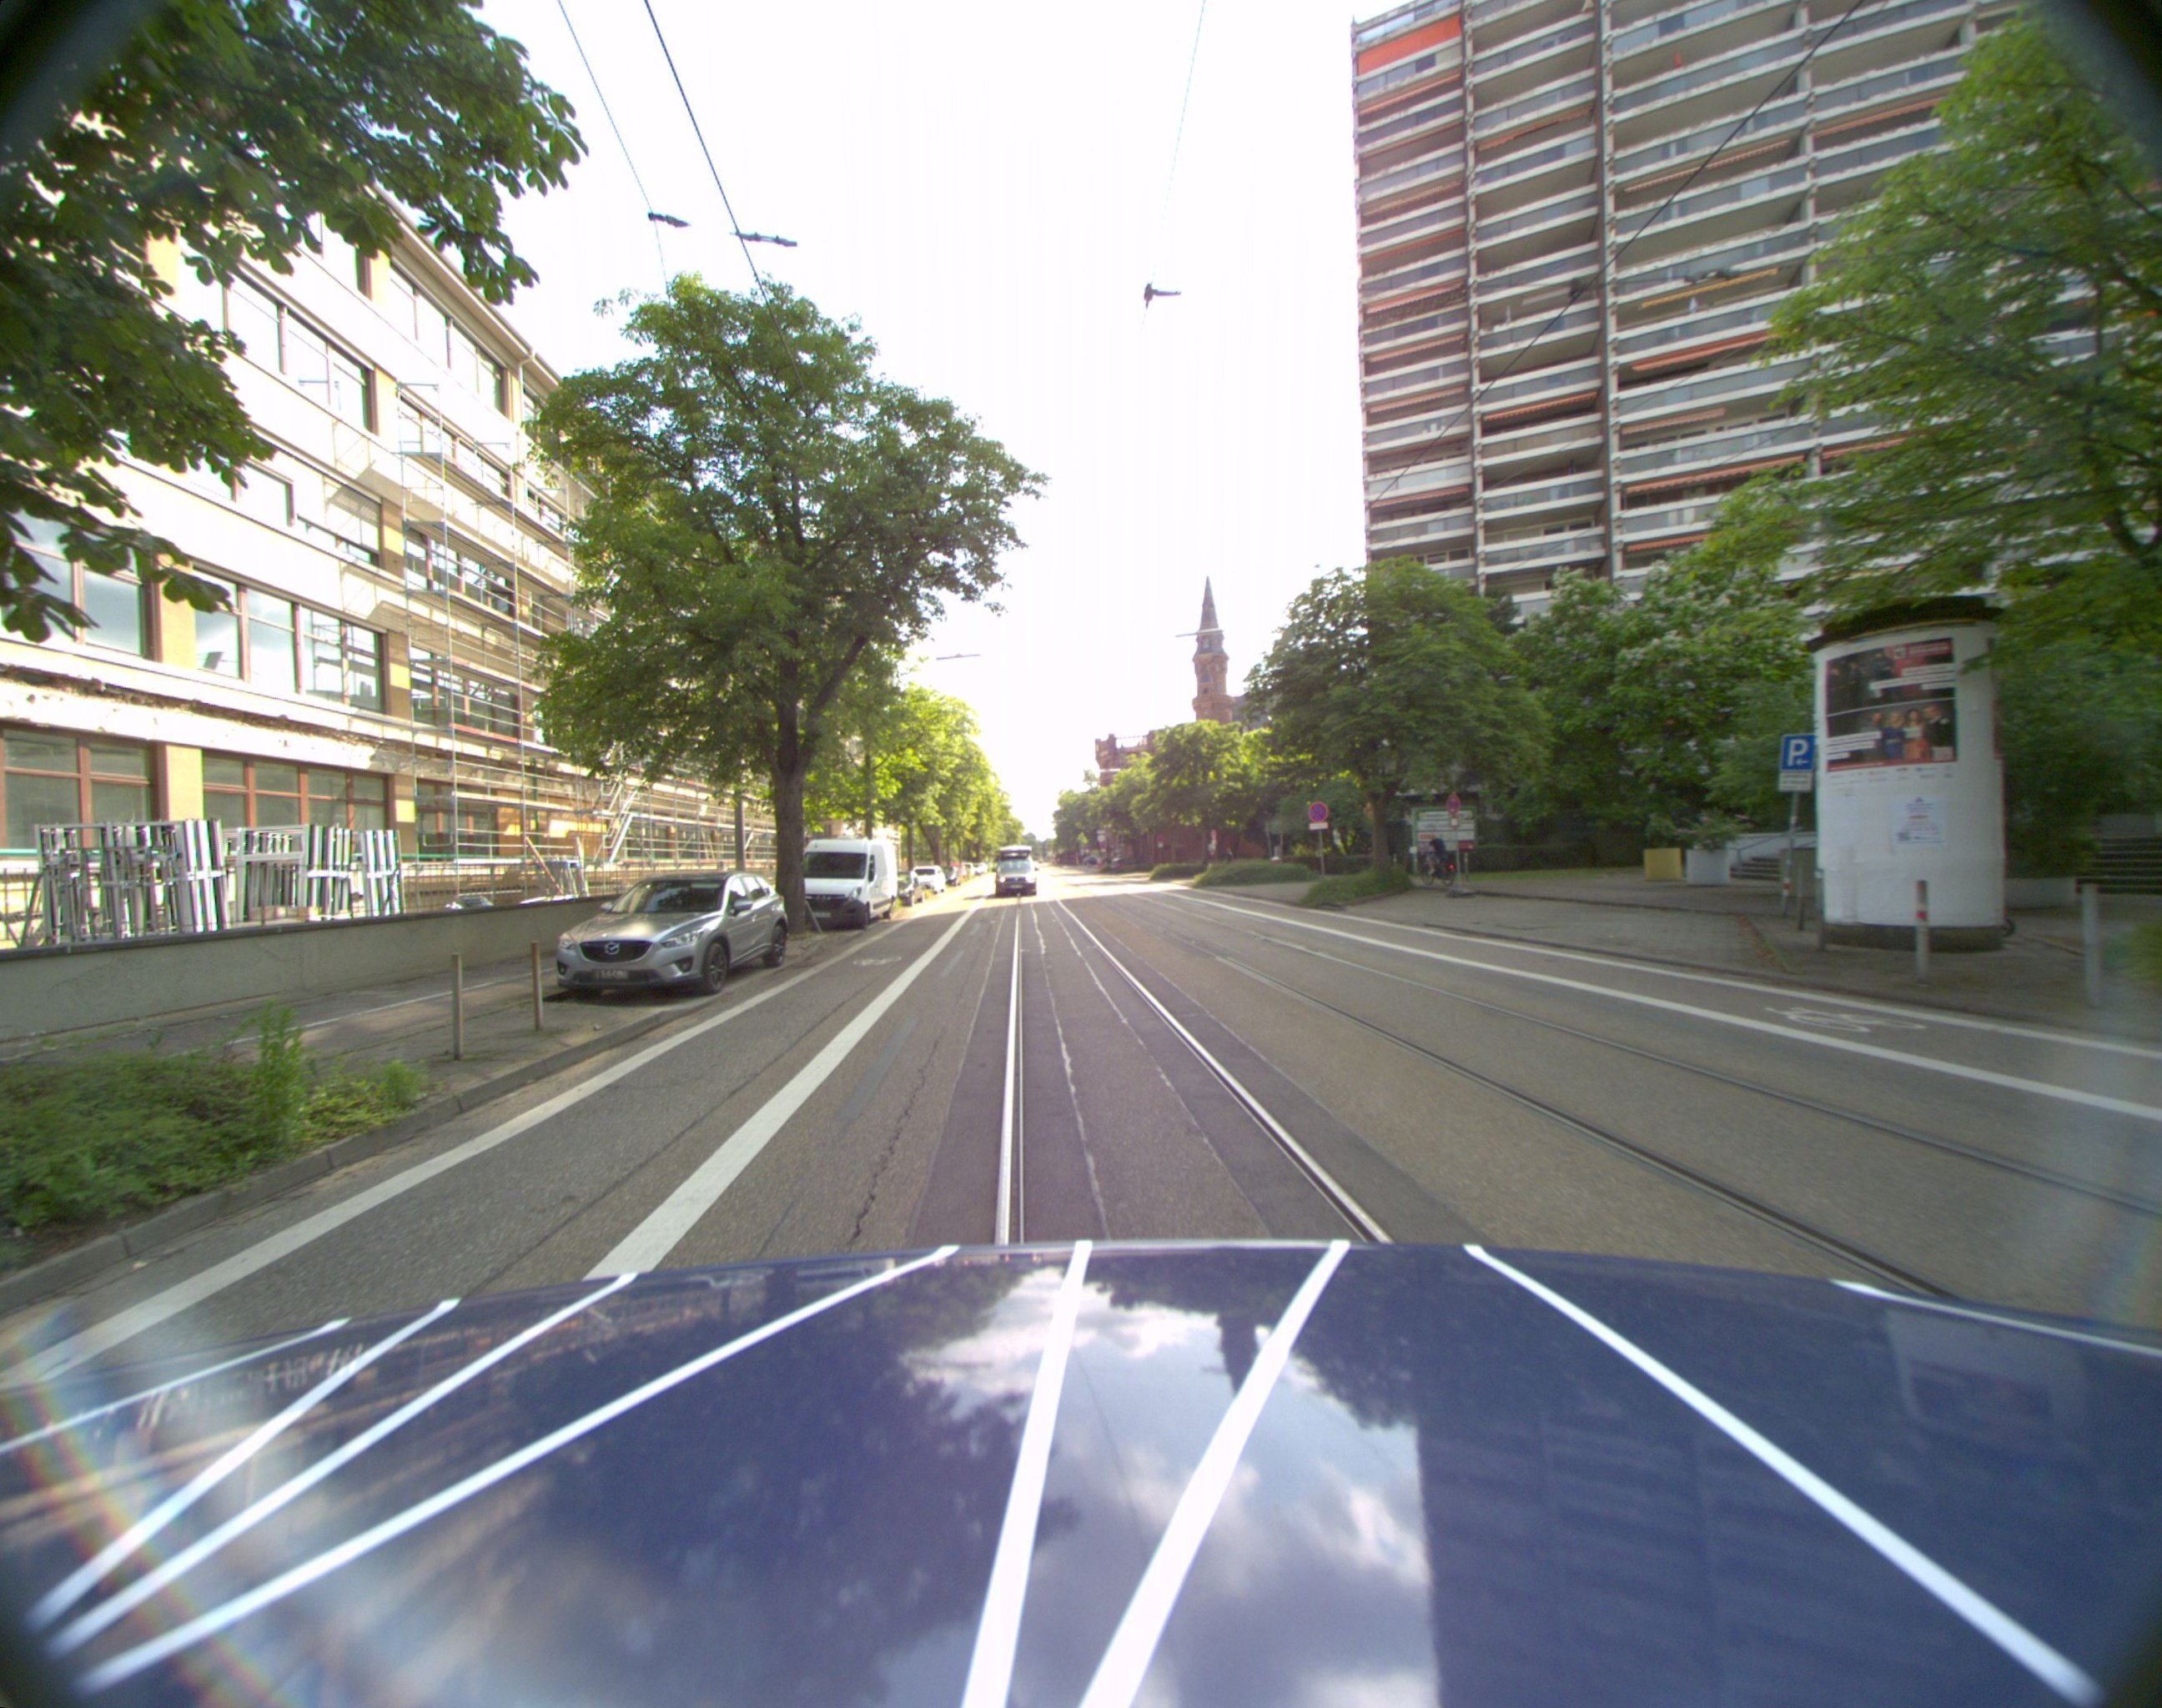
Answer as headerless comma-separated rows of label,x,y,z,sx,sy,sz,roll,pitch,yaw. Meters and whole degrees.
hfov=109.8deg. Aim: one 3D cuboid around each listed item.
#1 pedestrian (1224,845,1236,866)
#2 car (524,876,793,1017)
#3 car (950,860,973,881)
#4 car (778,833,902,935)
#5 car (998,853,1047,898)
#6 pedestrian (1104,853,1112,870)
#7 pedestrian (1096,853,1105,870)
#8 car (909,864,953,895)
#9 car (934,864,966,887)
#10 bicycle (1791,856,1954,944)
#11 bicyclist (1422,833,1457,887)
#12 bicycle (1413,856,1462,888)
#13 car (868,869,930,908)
pedestrian,11.833,0.094,60.295,0.765,1.620,0.738,-2,1,5
car,-5.846,1.154,11.243,1.770,1.597,4.457,0,-1,-4
car,-9.729,1.336,61.987,1.533,1.565,3.646,-2,0,-4
car,-6.728,0.755,22.011,2.129,2.552,5.916,0,0,-5
car,-2.642,0.923,34.039,1.946,1.763,4.836,-3,-1,-5
pedestrian,3.249,0.894,90.950,0.905,2.002,1.057,-2,1,-1
pedestrian,2.310,0.877,90.946,0.905,2.002,1.057,-2,1,-1
car,-8.058,1.346,41.020,1.569,1.448,3.895,-2,0,0
car,-8.812,1.407,51.163,1.737,1.390,3.629,-2,0,-4
bicycle,11.085,0.620,10.709,1.504,1.148,0.634,-1,1,38
bicyclist,11.819,0.204,25.050,0.725,1.730,0.781,-2,1,-4
bicycle,11.833,0.581,25.284,0.569,0.974,1.982,-2,0,-4
car,-7.432,1.381,31.429,1.739,1.364,4.506,2,0,-4
